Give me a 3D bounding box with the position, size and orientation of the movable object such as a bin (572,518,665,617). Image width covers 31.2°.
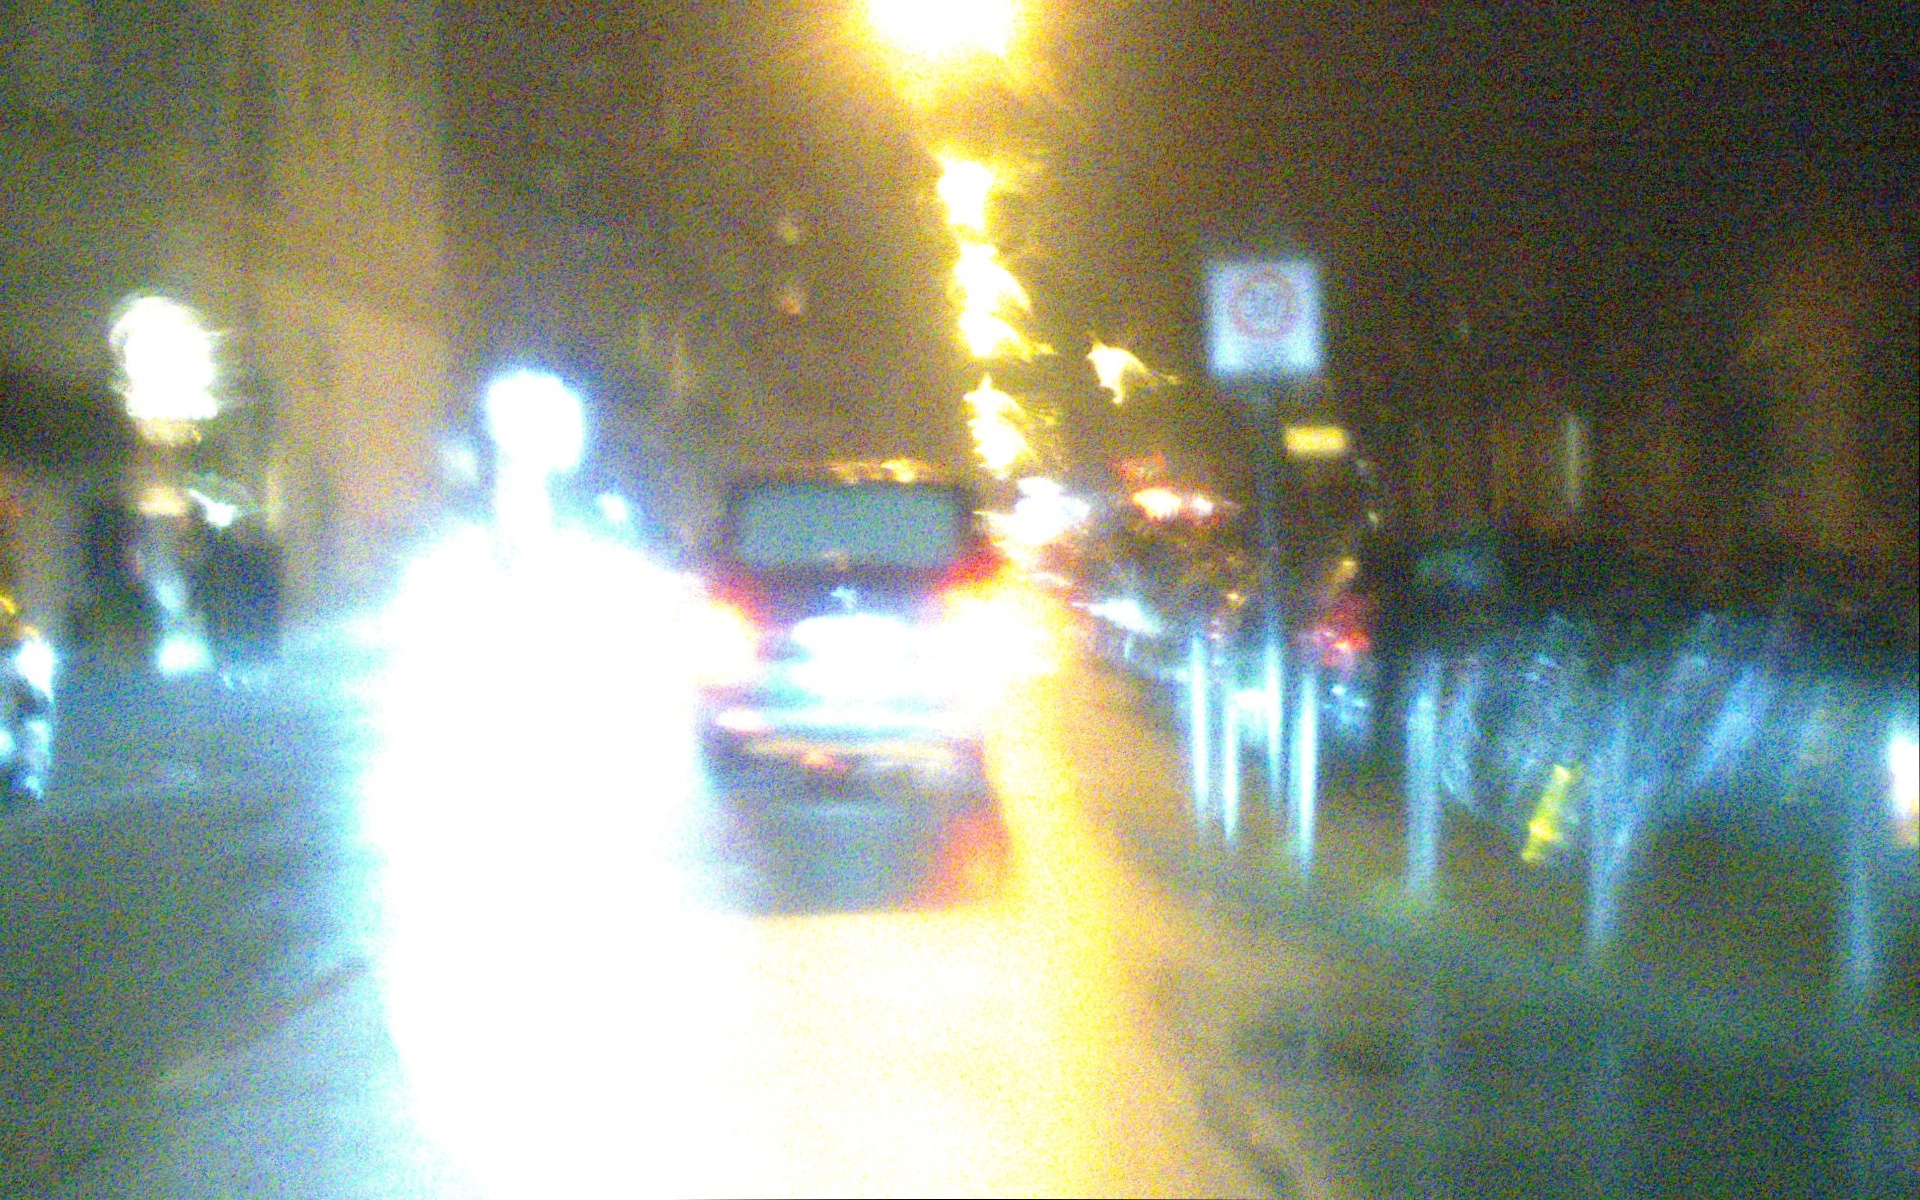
[{"bbox_3d":[-5.165,-0.494,52.104,1.208,1.454,1.107,2,1,3],"label":"movable object such as a bin"}]

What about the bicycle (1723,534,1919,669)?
[{"bbox_3d":[7.932,0.009,31.636,1.684,1.142,0.429,-3,1,-7],"label":"bicycle"}]

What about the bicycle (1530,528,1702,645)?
[{"bbox_3d":[8.046,-0.169,42.212,1.972,1.330,0.782,-3,1,7],"label":"bicycle"}]

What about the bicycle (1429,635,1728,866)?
[{"bbox_3d":[2.651,0.641,14.763,1.210,0.944,0.302,-1,1,-3],"label":"bicycle"}]

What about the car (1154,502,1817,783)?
[{"bbox_3d":[3.246,0.224,21.234,3.699,1.517,1.657,-2,1,-24],"label":"car"}]

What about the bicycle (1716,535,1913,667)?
[{"bbox_3d":[7.992,0.004,32.169,1.684,1.142,0.486,-3,1,-7],"label":"bicycle"}]

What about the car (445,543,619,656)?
[{"bbox_3d":[-5.413,-0.037,43.887,1.654,1.354,4.222,1,1,0],"label":"car"}]

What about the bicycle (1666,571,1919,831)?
[{"bbox_3d":[4.133,0.454,15.964,1.595,1.154,0.418,-1,1,-3],"label":"bicycle"}]

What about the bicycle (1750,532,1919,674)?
[{"bbox_3d":[7.759,0.017,29.805,1.684,1.142,0.429,-3,1,-7],"label":"bicycle"}]

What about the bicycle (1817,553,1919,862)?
[{"bbox_3d":[4.348,0.416,14.015,1.580,1.230,0.418,-1,1,3],"label":"bicycle"}]

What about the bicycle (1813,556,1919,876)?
[{"bbox_3d":[4.242,0.434,13.499,1.664,1.230,0.385,-1,1,3],"label":"bicycle"}]

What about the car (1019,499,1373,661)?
[{"bbox_3d":[2.997,-0.265,43.270,4.234,1.852,1.716,-3,1,-35],"label":"car"}]

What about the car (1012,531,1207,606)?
[{"bbox_3d":[3.091,-0.666,71.198,3.671,1.455,1.604,-2,1,-23],"label":"car"}]

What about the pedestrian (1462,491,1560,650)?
[{"bbox_3d":[6.642,-0.347,41.491,0.838,1.829,0.947,-5,0,-3],"label":"pedestrian"}]

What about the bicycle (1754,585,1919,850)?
[{"bbox_3d":[4.324,0.492,15.003,1.595,1.108,0.418,-1,1,-3],"label":"bicycle"}]

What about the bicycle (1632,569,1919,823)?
[{"bbox_3d":[4.058,0.446,16.404,1.595,1.154,0.418,-1,1,-3],"label":"bicycle"}]

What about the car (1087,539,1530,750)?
[{"bbox_3d":[2.691,0.332,26.644,3.038,1.546,1.505,1,1,-21],"label":"car"}]

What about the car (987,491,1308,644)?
[{"bbox_3d":[2.907,-0.517,52.783,4.711,2.240,1.946,-1,1,-35],"label":"car"}]

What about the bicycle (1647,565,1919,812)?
[{"bbox_3d":[4.222,0.421,16.854,1.595,1.154,0.418,-1,1,-3],"label":"bicycle"}]

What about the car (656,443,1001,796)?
[{"bbox_3d":[-0.746,0.102,22.127,1.993,2.043,4.000,1,0,1],"label":"car"}]

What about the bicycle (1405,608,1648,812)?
[{"bbox_3d":[2.840,0.548,17.256,1.132,0.944,0.267,-3,1,-2],"label":"bicycle"}]

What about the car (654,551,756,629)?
[{"bbox_3d":[-5.126,-0.233,69.528,1.686,1.450,4.316,1,1,0],"label":"car"}]

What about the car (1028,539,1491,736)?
[{"bbox_3d":[2.567,0.310,29.637,3.553,1.605,1.713,1,1,-21],"label":"car"}]

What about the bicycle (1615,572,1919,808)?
[{"bbox_3d":[4.188,0.458,17.604,1.596,1.154,0.539,-1,1,9],"label":"bicycle"}]

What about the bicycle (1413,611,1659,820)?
[{"bbox_3d":[2.843,0.567,16.991,1.132,0.971,0.249,-3,1,-2],"label":"bicycle"}]

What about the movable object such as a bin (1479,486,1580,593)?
[{"bbox_3d":[8.222,-0.869,49.707,1.209,1.446,0.999,-4,1,1],"label":"movable object such as a bin"}]

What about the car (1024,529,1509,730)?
[{"bbox_3d":[2.856,0.263,32.051,4.092,1.758,1.859,1,1,-24],"label":"car"}]
